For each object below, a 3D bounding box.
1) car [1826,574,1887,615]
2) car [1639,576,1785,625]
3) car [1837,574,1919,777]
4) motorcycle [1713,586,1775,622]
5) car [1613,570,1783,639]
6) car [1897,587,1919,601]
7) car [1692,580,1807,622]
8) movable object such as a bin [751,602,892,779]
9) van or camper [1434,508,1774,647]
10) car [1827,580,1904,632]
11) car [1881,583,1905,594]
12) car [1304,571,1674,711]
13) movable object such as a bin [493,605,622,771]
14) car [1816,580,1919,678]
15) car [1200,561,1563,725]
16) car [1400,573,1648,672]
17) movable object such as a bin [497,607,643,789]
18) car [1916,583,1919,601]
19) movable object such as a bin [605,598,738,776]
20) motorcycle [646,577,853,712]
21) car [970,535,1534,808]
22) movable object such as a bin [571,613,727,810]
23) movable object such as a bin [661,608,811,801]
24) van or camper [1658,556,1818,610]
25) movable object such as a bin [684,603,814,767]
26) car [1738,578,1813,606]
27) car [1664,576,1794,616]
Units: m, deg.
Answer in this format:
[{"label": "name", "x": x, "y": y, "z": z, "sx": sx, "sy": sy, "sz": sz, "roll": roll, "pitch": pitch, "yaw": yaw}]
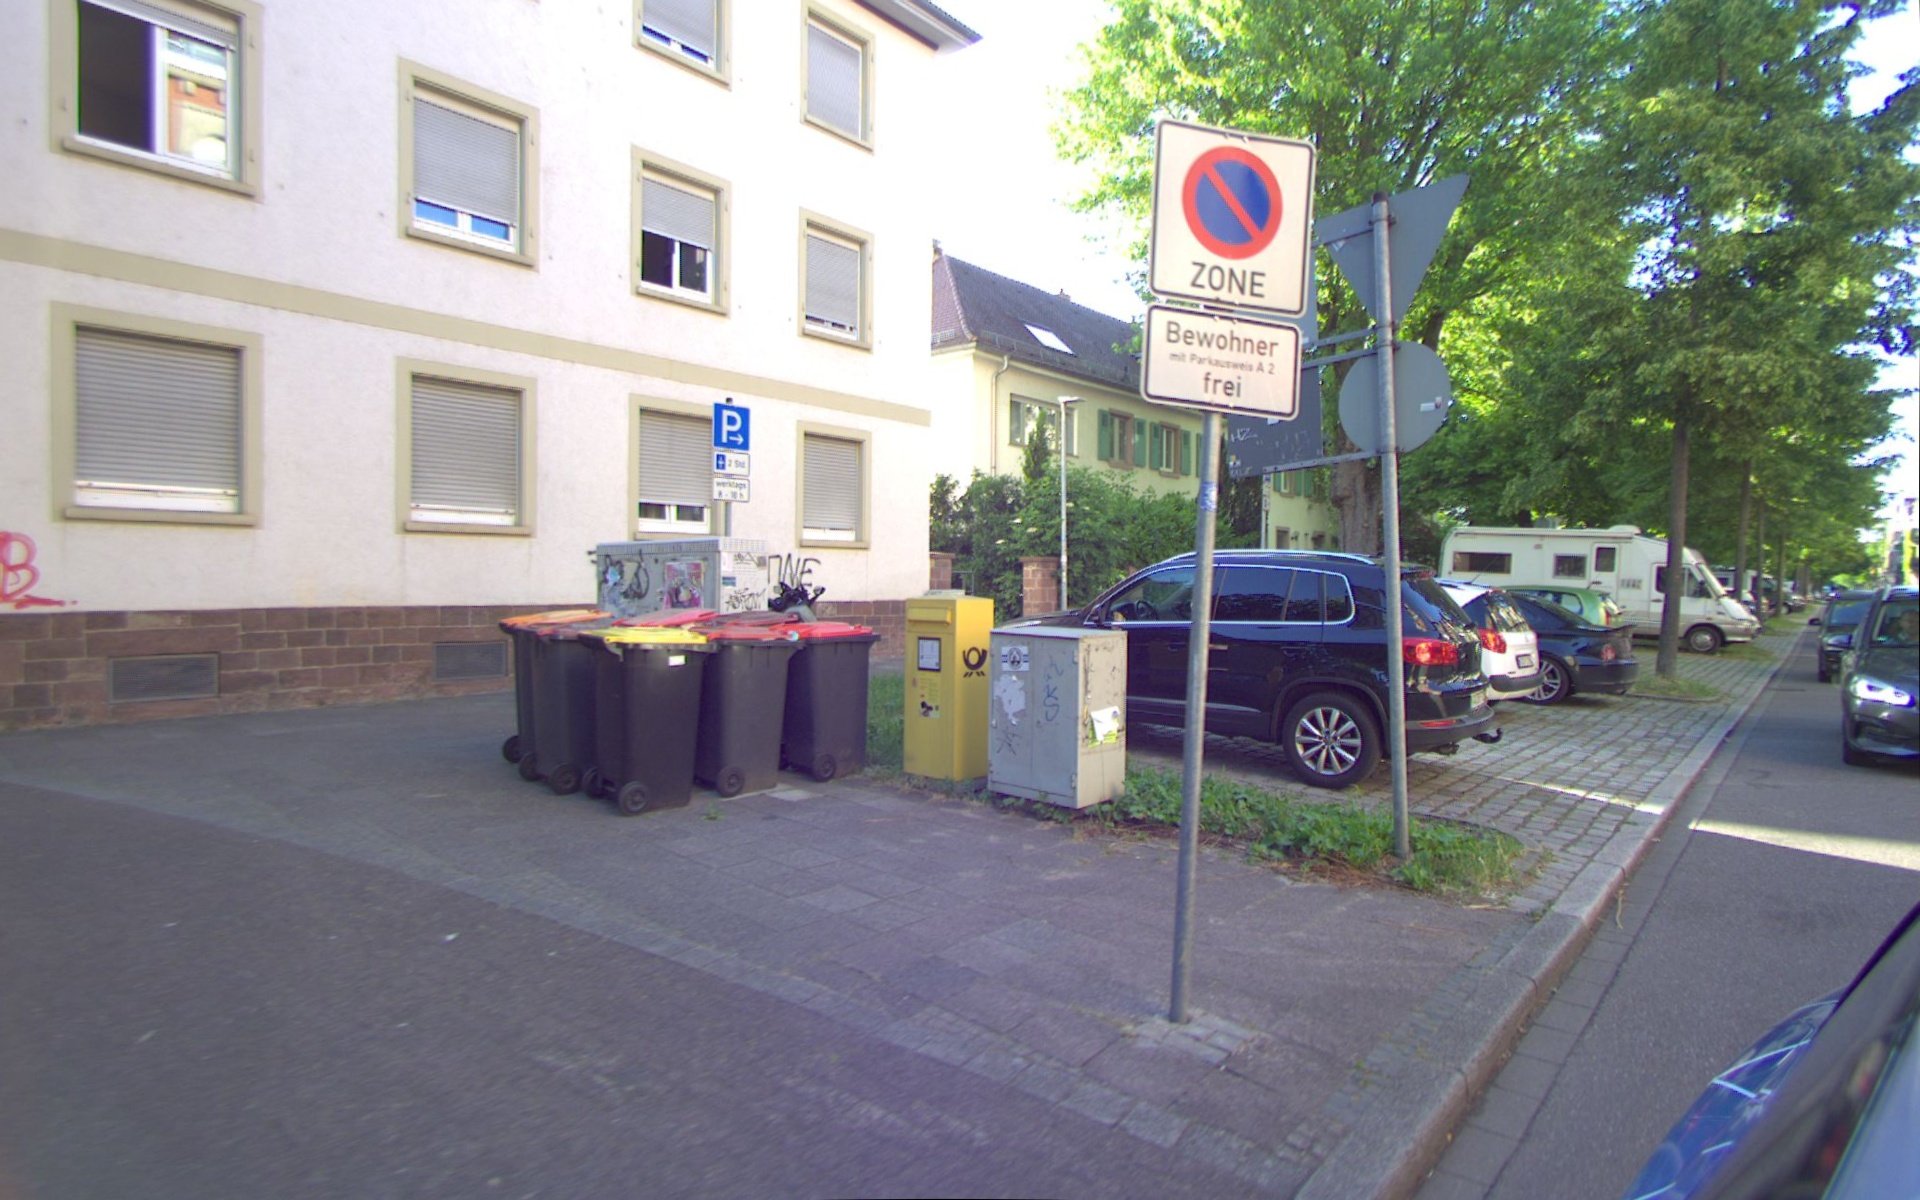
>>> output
[{"label": "car", "x": 40.942, "y": -0.280, "z": 46.223, "sx": 1.992, "sy": 1.777, "sz": 3.940, "roll": 2, "pitch": 2, "yaw": 42}, {"label": "car", "x": 28.768, "y": -0.032, "z": 38.777, "sx": 4.330, "sy": 1.628, "sz": 1.900, "roll": 4, "pitch": 4, "yaw": 41}, {"label": "car", "x": 9.525, "y": 0.562, "z": 9.442, "sx": 1.918, "sy": 1.627, "sz": 4.449, "roll": -2, "pitch": -1, "yaw": 42}, {"label": "motorcycle", "x": 27.614, "y": 0.112, "z": 35.684, "sx": 0.723, "sy": 1.212, "sz": 1.778, "roll": 0, "pitch": 1, "yaw": -2}, {"label": "car", "x": 22.119, "y": 0.061, "z": 30.406, "sx": 3.914, "sy": 1.765, "sz": 1.703, "roll": 5, "pitch": 4, "yaw": 42}, {"label": "car", "x": 98.695, "y": -0.681, "z": 105.191, "sx": 1.696, "sy": 1.397, "sz": 3.941, "roll": 2, "pitch": 2, "yaw": 41}, {"label": "car", "x": 31.212, "y": -0.005, "z": 40.045, "sx": 3.447, "sy": 1.493, "sz": 1.668, "roll": 3, "pitch": 3, "yaw": 42}, {"label": "movable object such as a bin", "x": -1.005, "y": 0.613, "z": 7.331, "sx": 0.737, "sy": 1.167, "sz": 0.705, "roll": 1, "pitch": 1, "yaw": 43}, {"label": "van or camper", "x": 16.176, "y": -0.600, "z": 25.787, "sx": 7.067, "sy": 3.116, "sz": 2.429, "roll": 2, "pitch": 2, "yaw": 40}, {"label": "car", "x": 33.044, "y": 0.175, "z": 36.972, "sx": 1.992, "sy": 1.777, "sz": 3.940, "roll": 2, "pitch": 2, "yaw": 42}, {"label": "car", "x": 140.599, "y": -1.782, "z": 152.590, "sx": 1.985, "sy": 1.557, "sz": 3.953, "roll": -1, "pitch": 0, "yaw": 33}, {"label": "car", "x": 7.057, "y": 0.425, "z": 13.761, "sx": 4.105, "sy": 1.429, "sz": 1.765, "roll": 5, "pitch": 4, "yaw": 43}, {"label": "movable object such as a bin", "x": -2.884, "y": 0.593, "z": 7.257, "sx": 0.590, "sy": 1.097, "sz": 0.664, "roll": 1, "pitch": 1, "yaw": 41}, {"label": "car", "x": 17.026, "y": 0.462, "z": 18.410, "sx": 1.989, "sy": 1.613, "sz": 4.204, "roll": -1, "pitch": 0, "yaw": 38}, {"label": "car", "x": 4.944, "y": 0.389, "z": 12.192, "sx": 1.676, "sy": 1.671, "sz": 3.696, "roll": -1, "pitch": 2, "yaw": -44}, {"label": "car", "x": 10.043, "y": 0.327, "z": 18.160, "sx": 3.589, "sy": 1.524, "sz": 1.652, "roll": 3, "pitch": 2, "yaw": 43}, {"label": "movable object such as a bin", "x": -2.561, "y": 0.604, "z": 6.657, "sx": 0.628, "sy": 1.089, "sz": 0.695, "roll": 1, "pitch": 1, "yaw": 43}, {"label": "car", "x": 85.886, "y": -0.688, "z": 89.391, "sx": 1.916, "sy": 1.538, "sz": 3.941, "roll": 2, "pitch": 2, "yaw": 41}, {"label": "movable object such as a bin", "x": -2.062, "y": 0.581, "z": 7.241, "sx": 0.631, "sy": 1.167, "sz": 0.691, "roll": 1, "pitch": 1, "yaw": 43}, {"label": "motorcycle", "x": -2.228, "y": 0.412, "z": 10.999, "sx": 0.971, "sy": 1.296, "sz": 2.156, "roll": 1, "pitch": 1, "yaw": 33}, {"label": "car", "x": 2.322, "y": 0.373, "z": 8.510, "sx": 4.098, "sy": 1.734, "sz": 1.996, "roll": 3, "pitch": 2, "yaw": 38}, {"label": "movable object such as a bin", "x": -1.904, "y": 0.636, "z": 6.199, "sx": 0.656, "sy": 1.077, "sz": 0.684, "roll": 1, "pitch": 1, "yaw": 43}, {"label": "movable object such as a bin", "x": -1.506, "y": 0.653, "z": 6.797, "sx": 0.737, "sy": 1.167, "sz": 0.691, "roll": 1, "pitch": 1, "yaw": 43}, {"label": "van or camper", "x": 45.415, "y": -1.053, "z": 59.231, "sx": 7.245, "sy": 2.939, "sz": 2.391, "roll": 2, "pitch": 3, "yaw": 42}, {"label": "movable object such as a bin", "x": -1.635, "y": 0.617, "z": 7.847, "sx": 0.737, "sy": 1.167, "sz": 0.691, "roll": 1, "pitch": 1, "yaw": 43}, {"label": "car", "x": 57.000, "y": -0.582, "z": 70.759, "sx": 3.986, "sy": 1.837, "sz": 1.970, "roll": 2, "pitch": 2, "yaw": 43}, {"label": "car", "x": 34.566, "y": -0.224, "z": 45.555, "sx": 4.459, "sy": 1.496, "sz": 1.726, "roll": 5, "pitch": 4, "yaw": 43}]
